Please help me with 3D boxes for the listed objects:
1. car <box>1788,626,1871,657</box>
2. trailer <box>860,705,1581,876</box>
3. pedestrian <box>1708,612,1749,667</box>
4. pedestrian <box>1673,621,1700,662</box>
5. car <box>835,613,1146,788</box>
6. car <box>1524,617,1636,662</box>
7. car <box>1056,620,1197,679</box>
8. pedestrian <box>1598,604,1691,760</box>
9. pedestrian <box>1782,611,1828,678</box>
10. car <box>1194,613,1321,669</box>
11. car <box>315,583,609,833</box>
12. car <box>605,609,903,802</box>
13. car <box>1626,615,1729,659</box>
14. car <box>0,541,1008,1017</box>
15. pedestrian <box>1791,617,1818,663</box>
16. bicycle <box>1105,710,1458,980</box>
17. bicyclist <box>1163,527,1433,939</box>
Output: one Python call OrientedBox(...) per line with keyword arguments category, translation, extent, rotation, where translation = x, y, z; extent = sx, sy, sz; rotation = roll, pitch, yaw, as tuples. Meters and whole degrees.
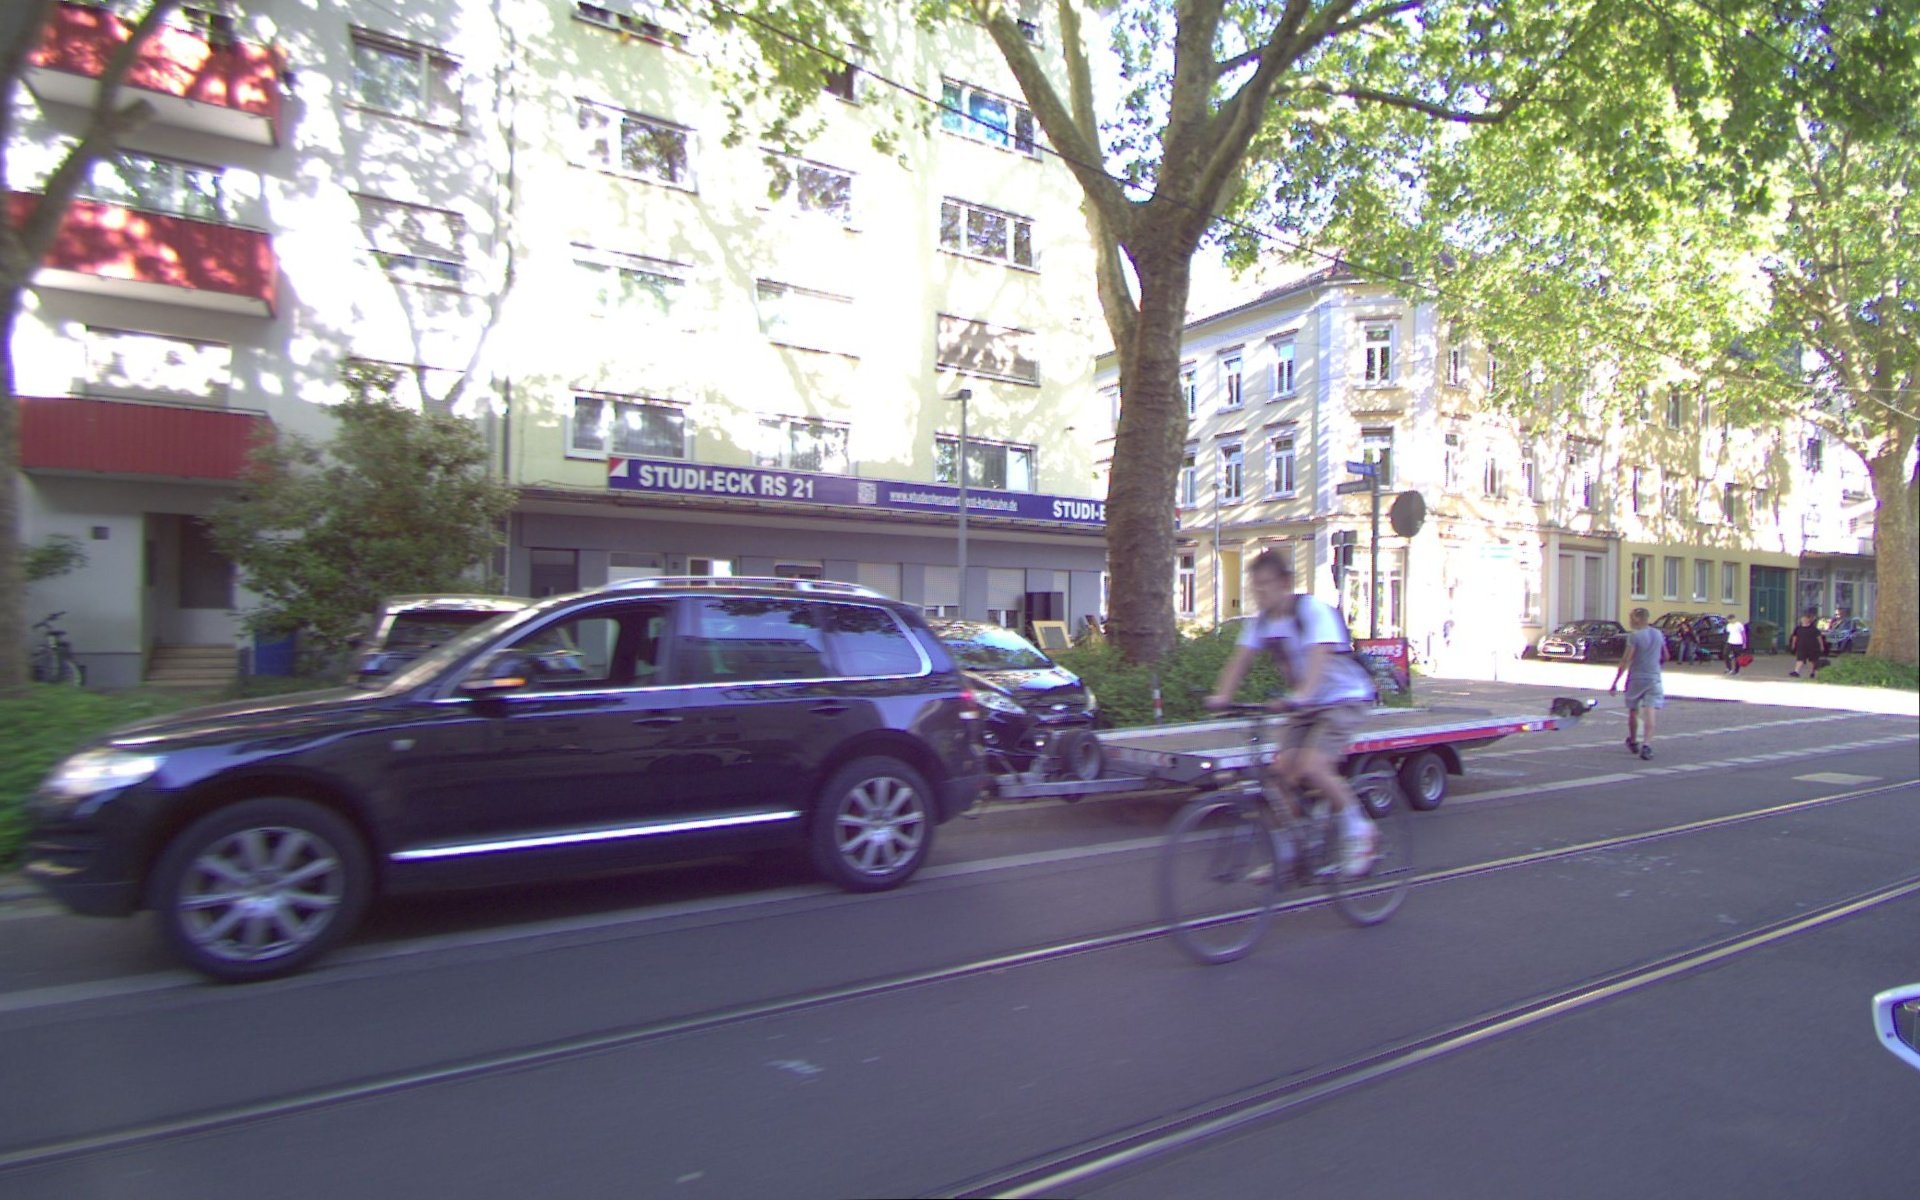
OrientedBox(category="car", translation=(38.380, 1.797, 44.317), extent=(3.784, 1.293, 1.687), rotation=(1, -1, -31))
OrientedBox(category="trailer", translation=(2.466, 1.380, 8.453), extent=(6.329, 0.640, 2.149), rotation=(1, -3, -32))
OrientedBox(category="pedestrian", translation=(23.214, 1.183, 30.346), extent=(0.638, 1.654, 0.840), rotation=(1, -1, -36))
OrientedBox(category="pedestrian", translation=(25.283, 1.433, 34.947), extent=(0.641, 1.421, 0.550), rotation=(1, -1, -27))
OrientedBox(category="car", translation=(0.185, 0.934, 10.932), extent=(1.768, 1.551, 3.410), rotation=(1, -1, -33))
OrientedBox(category="car", translation=(21.611, 1.352, 34.979), extent=(3.953, 1.483, 1.674), rotation=(1, -1, -30))
OrientedBox(category="car", translation=(4.718, 1.362, 28.939), extent=(1.802, 1.555, 3.963), rotation=(1, -1, -34))
OrientedBox(category="pedestrian", translation=(8.058, 0.939, 11.865), extent=(0.700, 1.758, 0.913), rotation=(-1, -2, 23))
OrientedBox(category="pedestrian", translation=(24.435, 1.281, 29.058), extent=(0.638, 1.894, 0.899), rotation=(1, -1, -36))
OrientedBox(category="car", translation=(9.618, 1.288, 32.693), extent=(1.976, 1.606, 3.631), rotation=(-2, 1, -29))
OrientedBox(category="car", translation=(-4.517, 0.746, 8.899), extent=(1.873, 1.669, 3.966), rotation=(1, -1, -31))
OrientedBox(category="car", translation=(-2.290, 0.879, 10.261), extent=(1.751, 1.542, 3.966), rotation=(1, -1, -31))
OrientedBox(category="car", translation=(27.078, 1.391, 37.874), extent=(3.953, 1.537, 1.673), rotation=(1, 0, -30))
OrientedBox(category="car", translation=(-2.112, 0.722, 5.646), extent=(4.433, 1.722, 1.984), rotation=(1, -2, -31))
OrientedBox(category="pedestrian", translation=(31.027, 1.469, 36.895), extent=(0.641, 1.674, 0.550), rotation=(1, -1, -27))
OrientedBox(category="bicycle", translation=(1.593, 1.073, 4.812), extent=(1.907, 0.975, 0.517), rotation=(1, -1, -33))
OrientedBox(category="bicyclist", translation=(1.580, 0.558, 4.729), extent=(0.947, 1.700, 0.780), rotation=(1, -1, -32))
